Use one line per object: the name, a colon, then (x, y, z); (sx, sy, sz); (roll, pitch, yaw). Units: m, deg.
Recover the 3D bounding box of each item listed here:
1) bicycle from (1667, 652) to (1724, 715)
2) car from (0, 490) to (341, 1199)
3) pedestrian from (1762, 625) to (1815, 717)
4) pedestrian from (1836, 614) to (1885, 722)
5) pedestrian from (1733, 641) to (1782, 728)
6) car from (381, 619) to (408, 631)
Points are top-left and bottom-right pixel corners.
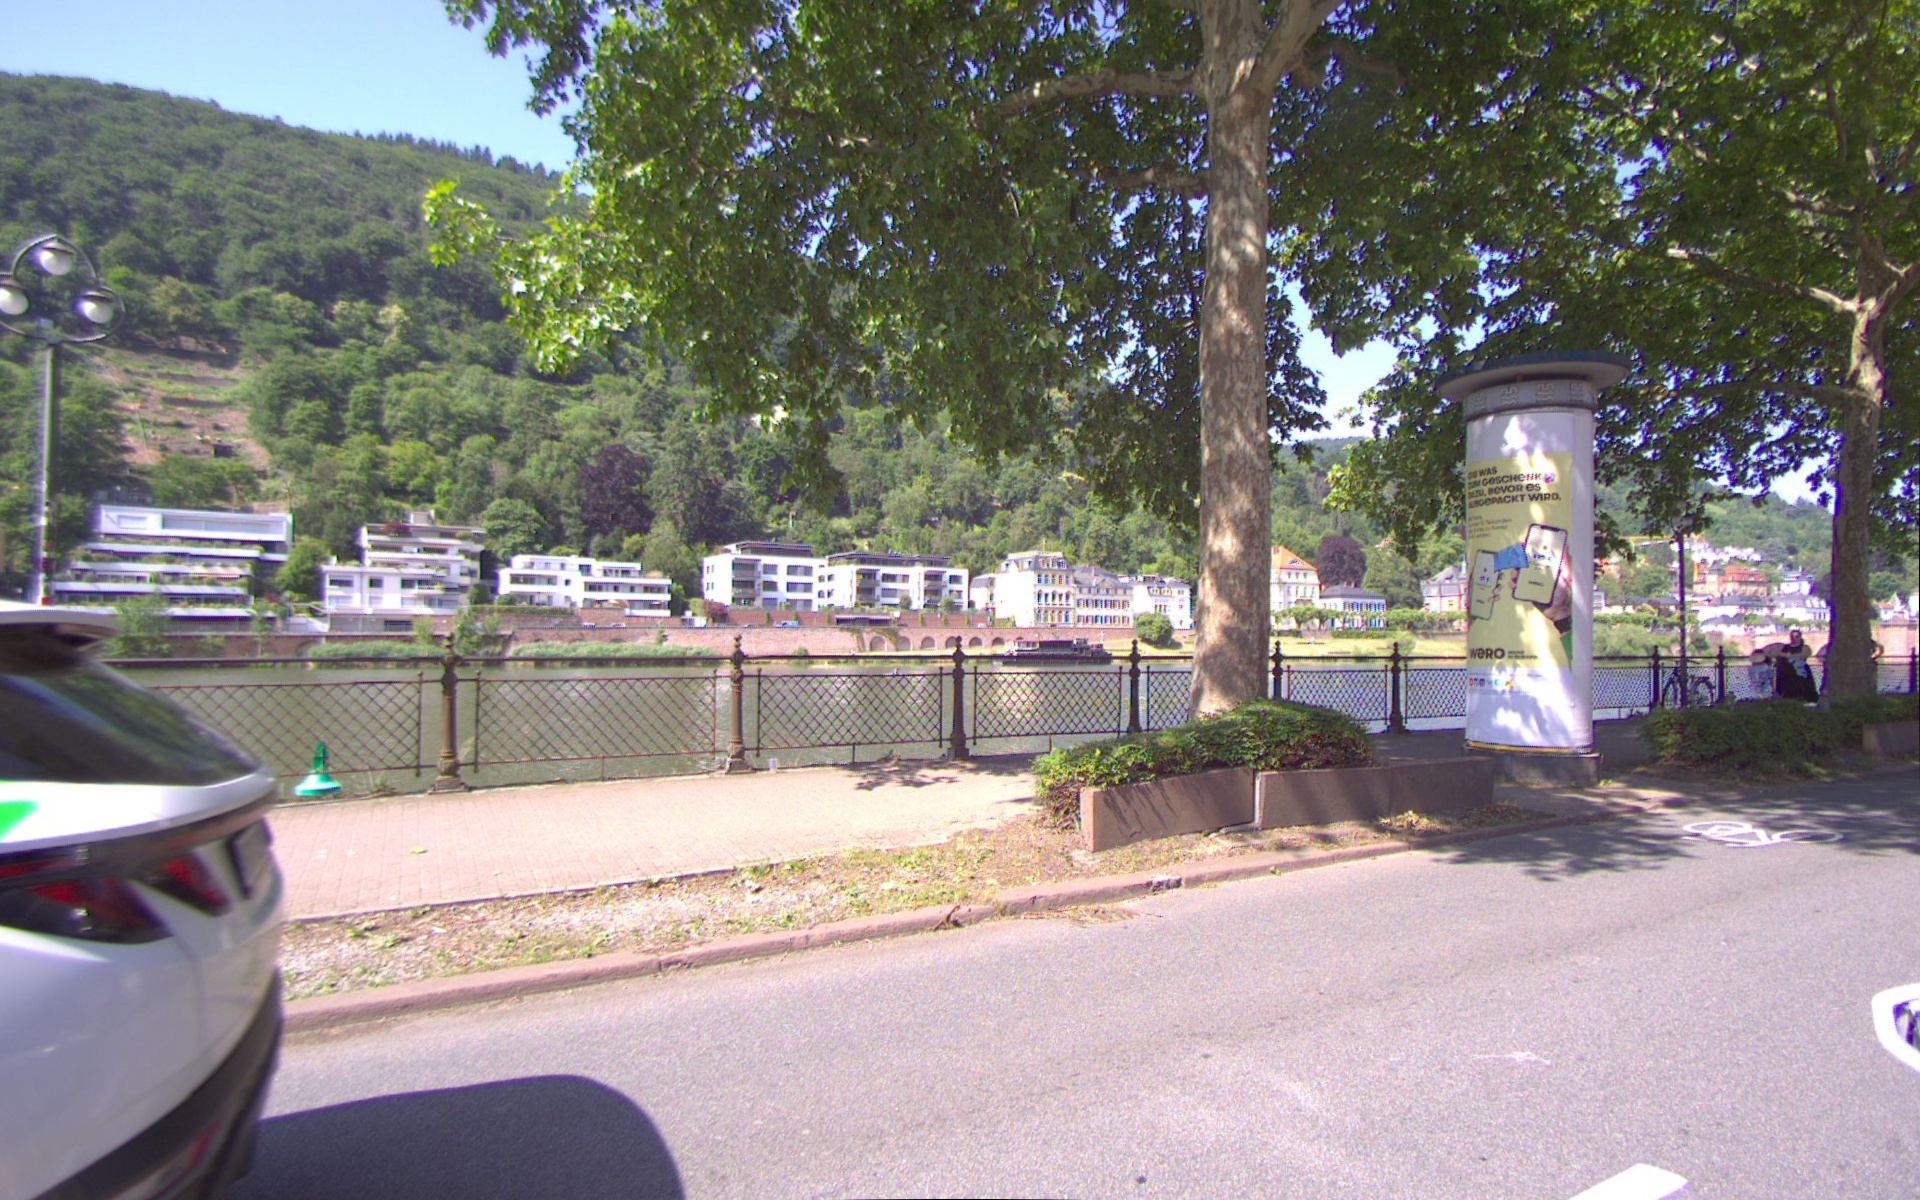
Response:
bicycle: (13.547, 1.526, 18.493); (1.281, 1.106, 0.357); (1, 1, -32)
car: (-3.192, 0.689, 1.326); (3.954, 1.681, 1.761); (2, -4, -31)
pedestrian: (15.686, 1.332, 19.015); (0.577, 1.708, 0.598); (1, -2, -31)
pedestrian: (16.249, 1.216, 18.128); (0.431, 1.912, 0.531); (1, 0, -30)
pedestrian: (13.051, 1.369, 16.441); (0.412, 1.381, 0.477); (1, 0, -26)
car: (-95.648, 4.226, 169.956); (3.953, 2.040, 1.984); (0, 0, -30)
